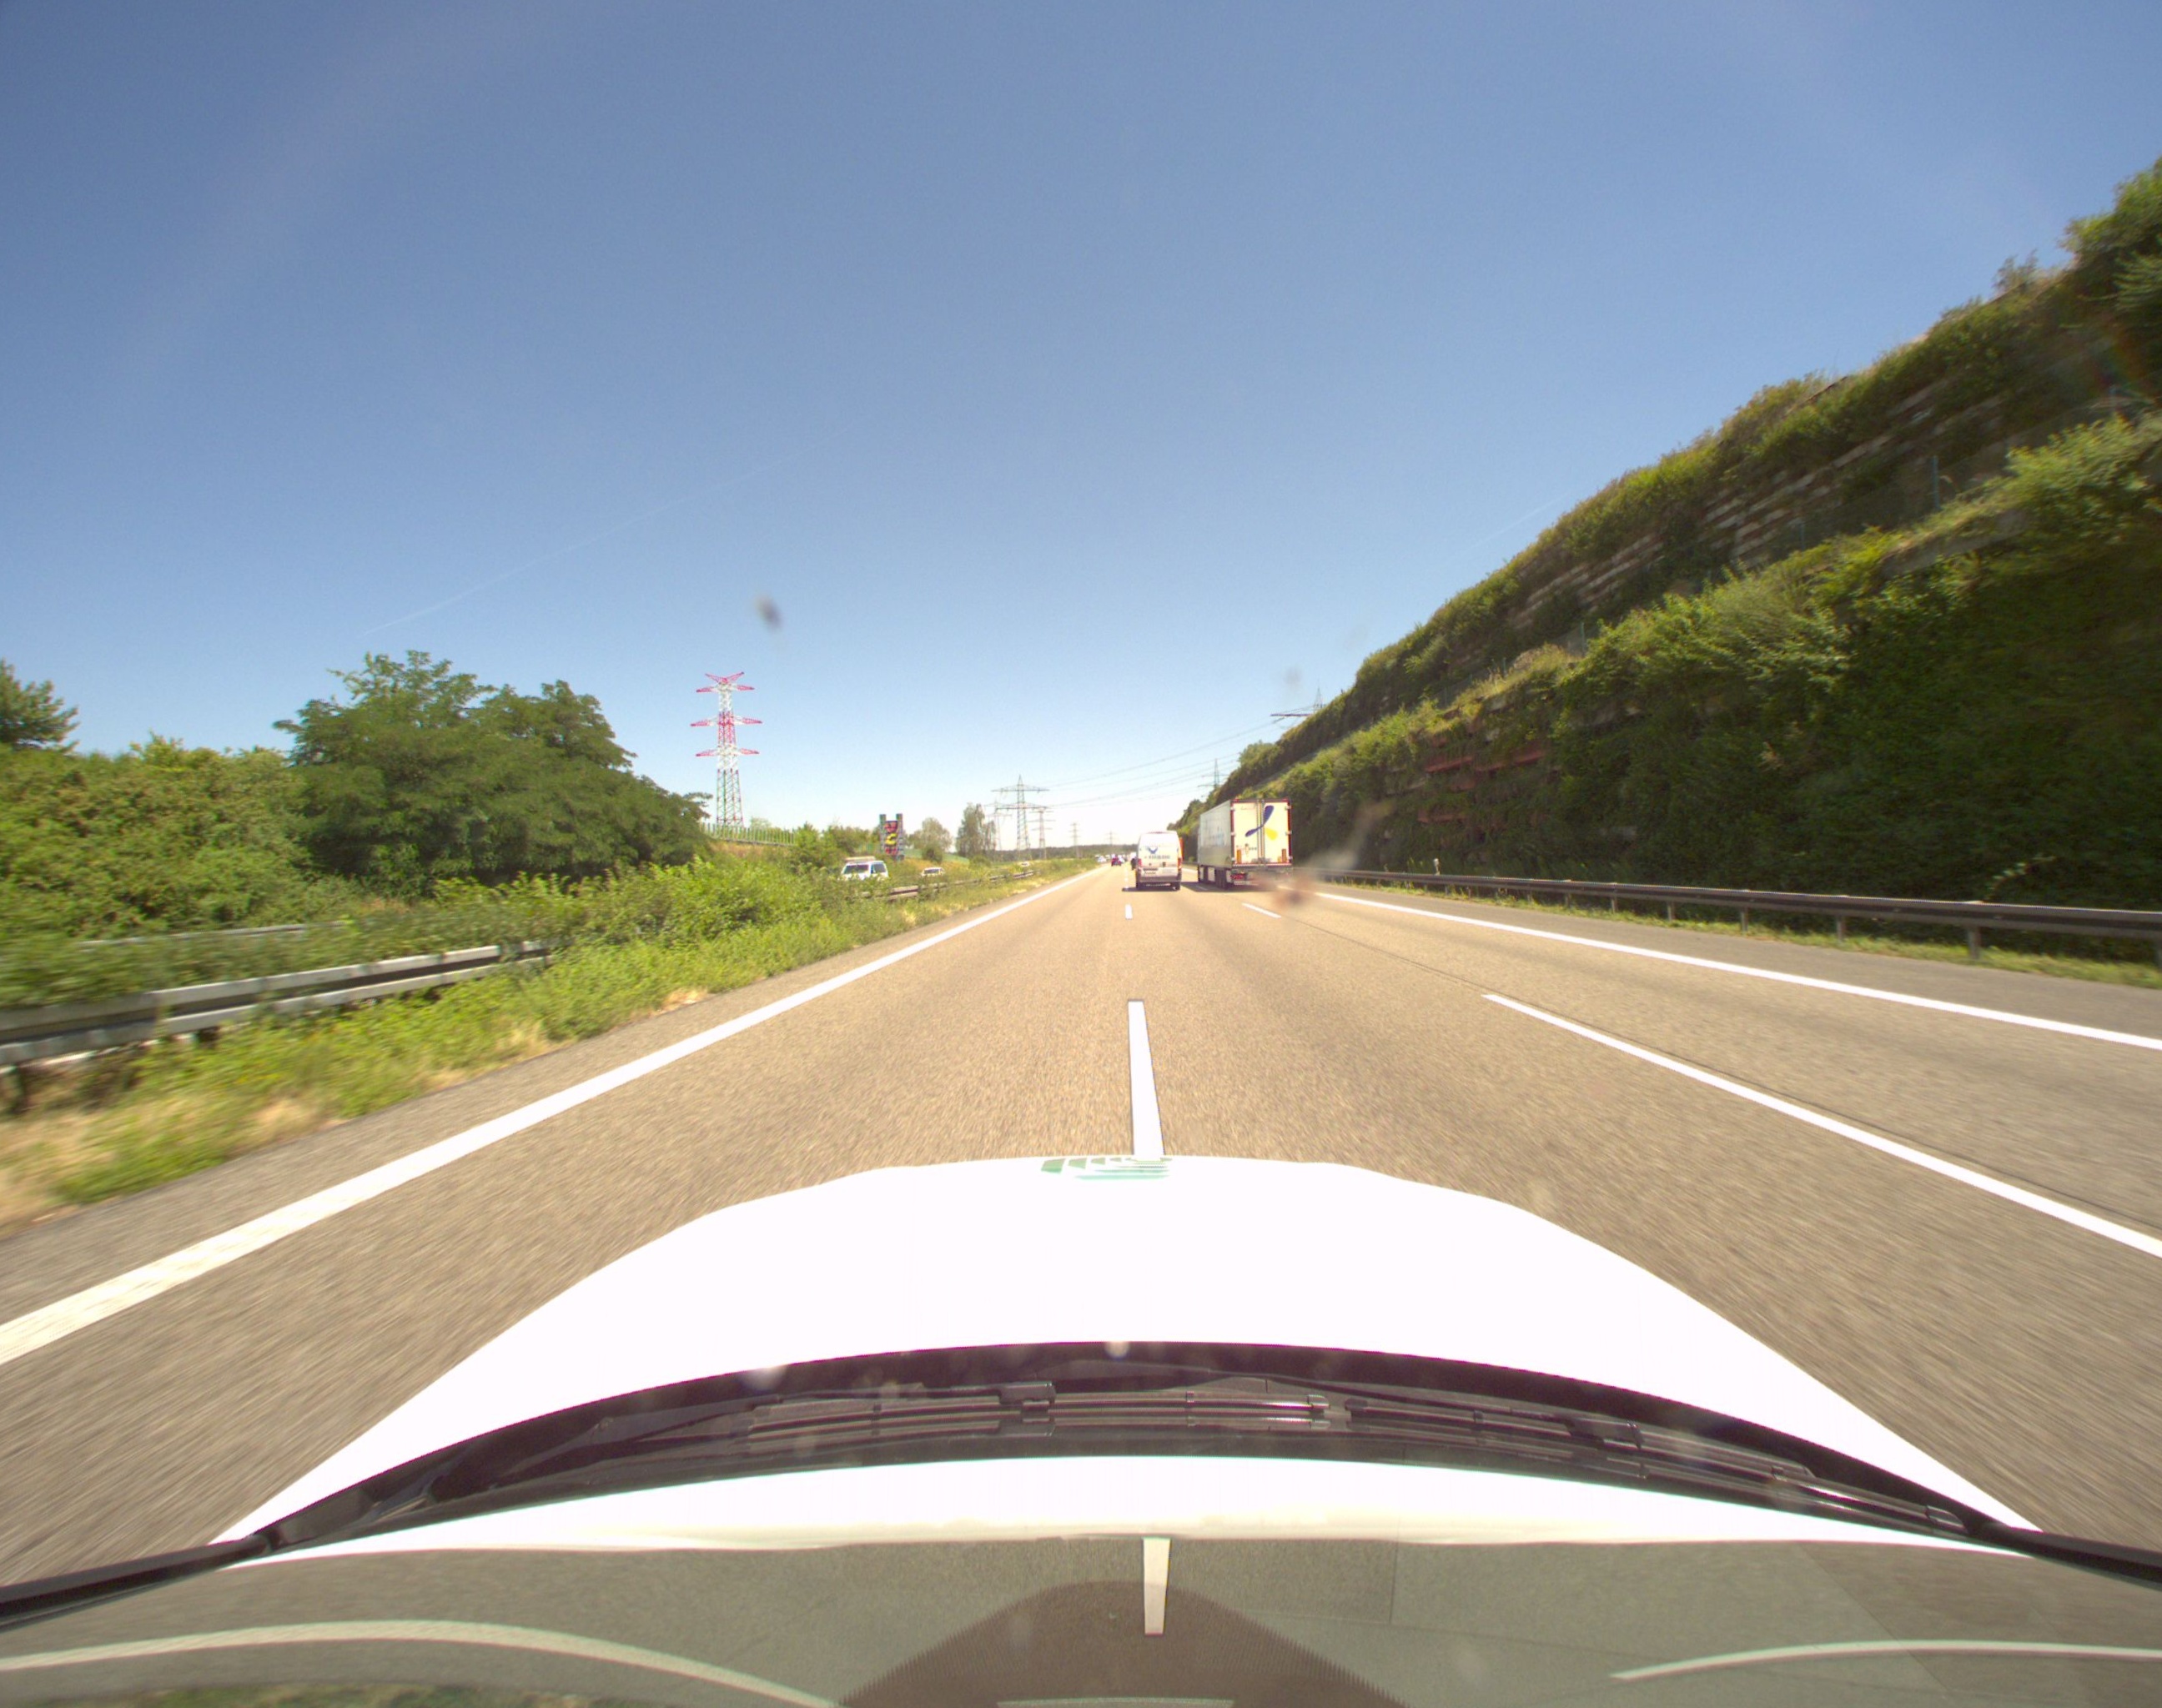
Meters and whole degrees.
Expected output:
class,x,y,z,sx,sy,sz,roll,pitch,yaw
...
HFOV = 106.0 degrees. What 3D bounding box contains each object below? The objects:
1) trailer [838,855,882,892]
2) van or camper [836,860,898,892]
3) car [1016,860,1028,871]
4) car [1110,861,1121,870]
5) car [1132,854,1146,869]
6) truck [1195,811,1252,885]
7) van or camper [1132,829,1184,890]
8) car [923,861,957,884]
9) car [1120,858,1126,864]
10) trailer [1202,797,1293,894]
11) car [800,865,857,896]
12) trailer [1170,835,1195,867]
class,x,y,z,sx,sy,sz,roll,pitch,yaw
trailer,-16.401,1.381,60.574,1.792,2.618,4.412,0,0,4
van or camper,-12.695,1.265,48.586,1.957,1.766,5.218,0,0,4
car,-11.685,2.215,160.827,1.960,2.008,4.405,0,0,2
car,7.012,2.321,164.544,1.973,1.817,3.817,0,0,4
car,7.520,0.947,105.928,1.788,1.817,3.802,0,0,2
truck,8.291,-0.336,48.010,2.626,4.060,5.804,0,0,3
van or camper,3.666,0.247,39.522,2.221,2.782,5.425,0,0,2
car,-11.758,1.515,68.178,1.774,1.766,4.365,0,0,4
car,12.398,2.020,238.879,1.691,1.661,3.711,0,0,4
trailer,7.922,-0.351,40.472,2.626,4.060,12.375,0,0,3
car,-16.800,1.738,54.479,1.935,1.925,5.028,0,0,4
trailer,12.884,-0.342,103.964,2.626,3.897,7.074,0,0,3
